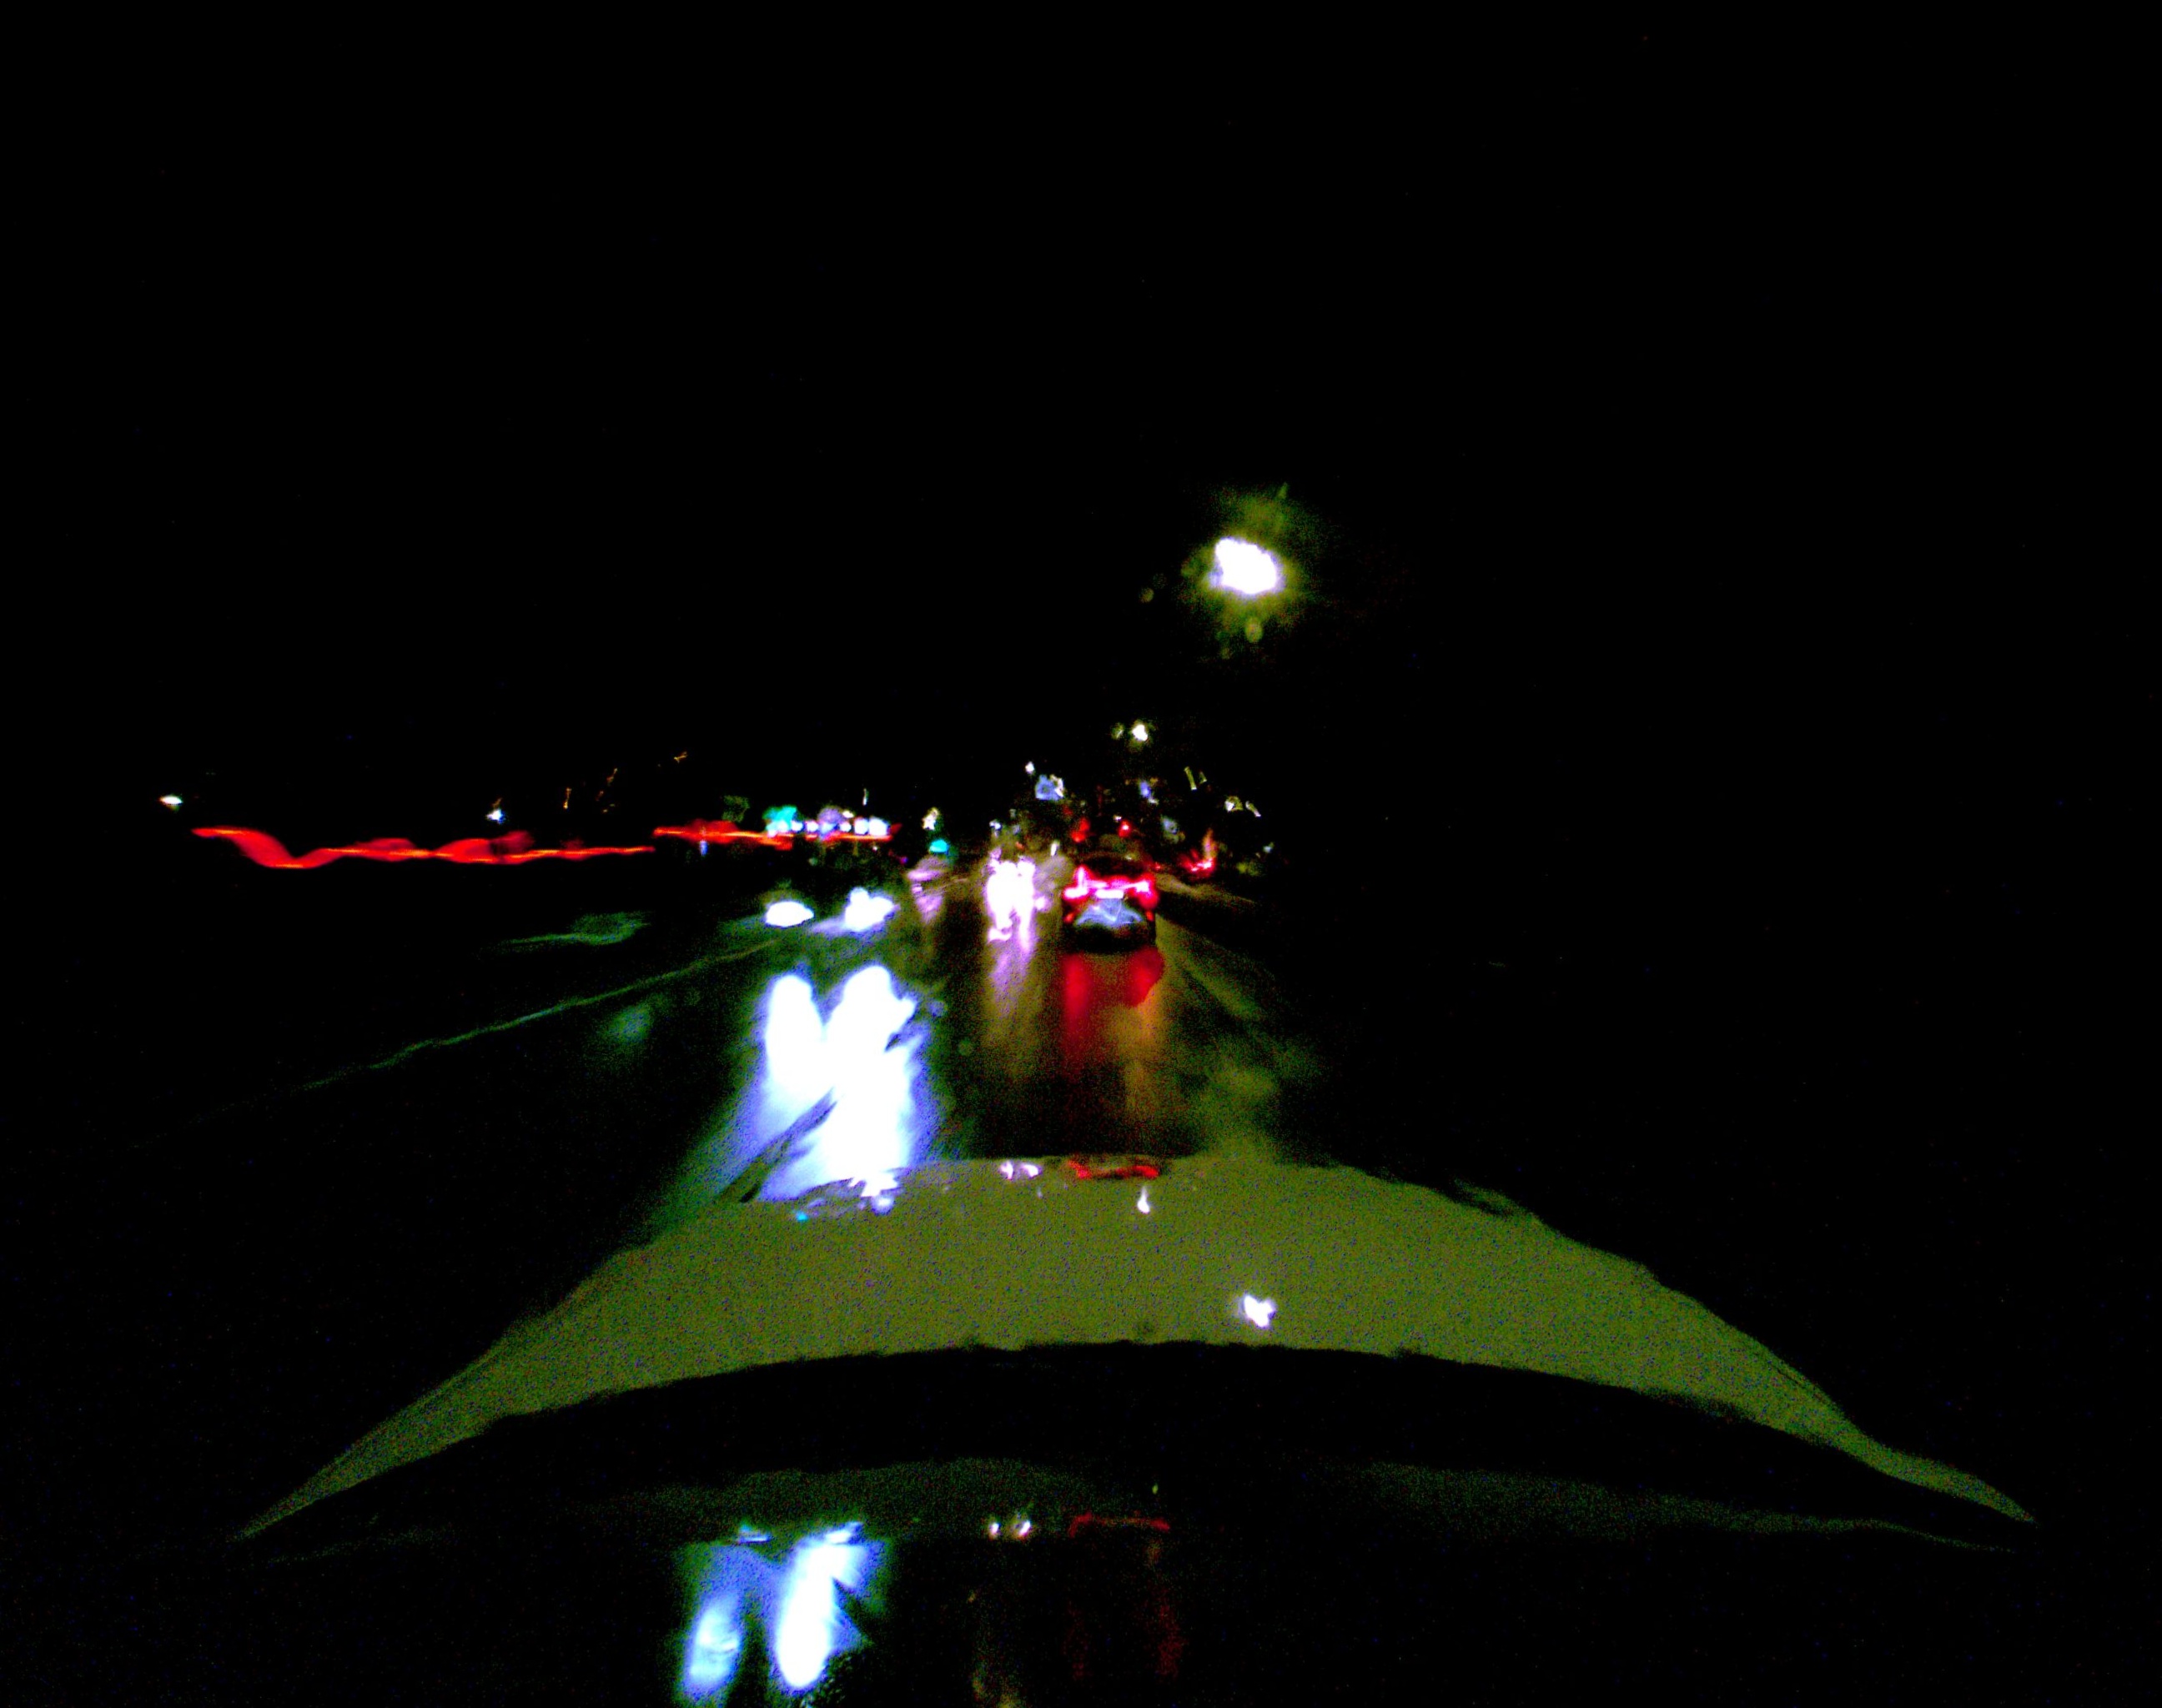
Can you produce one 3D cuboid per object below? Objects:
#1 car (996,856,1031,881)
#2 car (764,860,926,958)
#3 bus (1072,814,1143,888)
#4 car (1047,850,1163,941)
[{"bbox_3d":[-4.028,0.844,49.078,1.818,1.403,4.035,1,0,-1],"label":"car"},{"bbox_3d":[-3.944,0.846,14.393,1.755,1.431,4.324,0,0,-3],"label":"car"},{"bbox_3d":[1.518,-0.139,40.661,3.029,3.212,9.062,-1,0,5],"label":"bus"},{"bbox_3d":[0.561,0.705,15.927,1.984,1.524,4.005,0,1,4],"label":"car"}]
